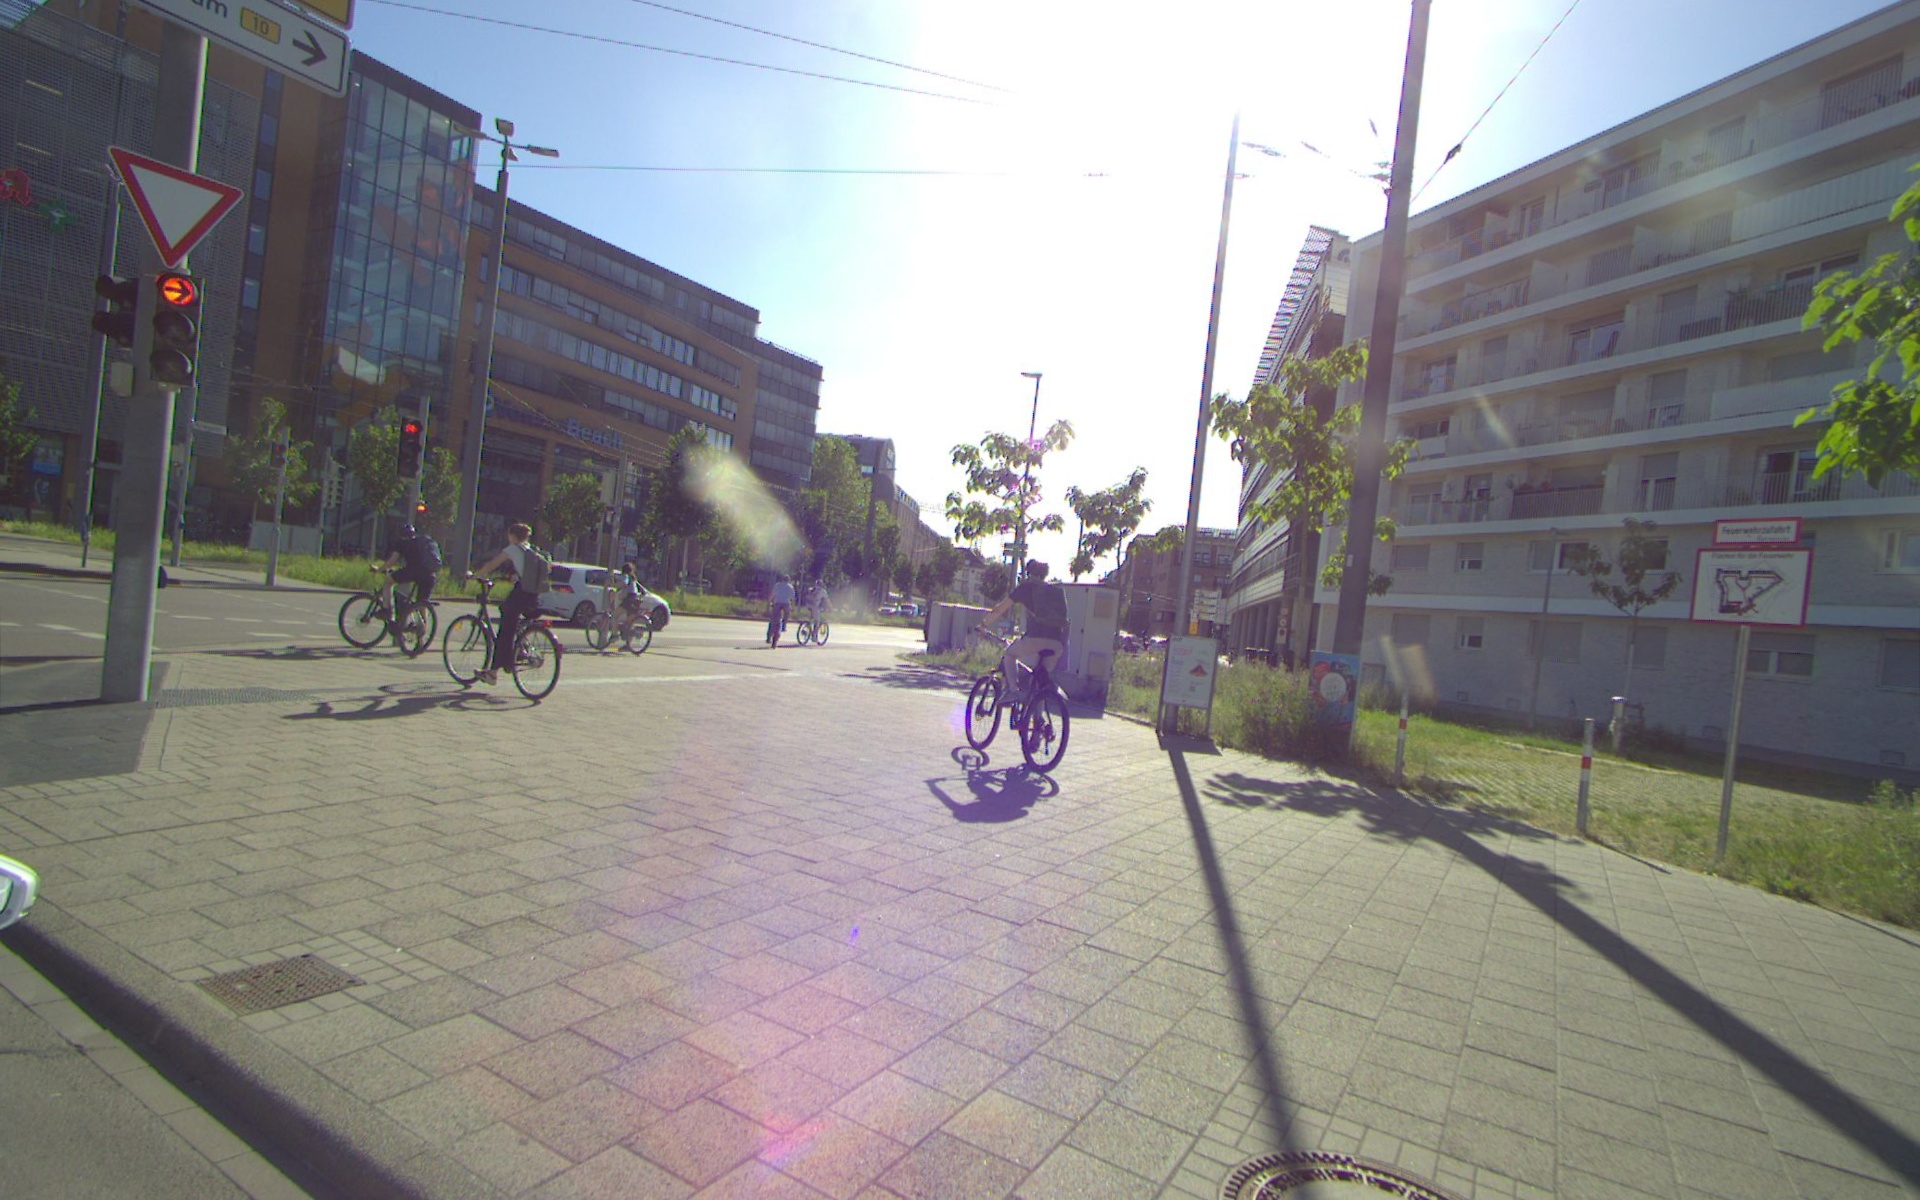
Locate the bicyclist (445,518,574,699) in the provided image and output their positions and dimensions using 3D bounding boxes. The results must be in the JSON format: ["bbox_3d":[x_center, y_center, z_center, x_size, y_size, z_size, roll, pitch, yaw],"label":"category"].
[{"bbox_3d":[-4.497,0.081,10.037,0.987,1.675,0.594,7,1,32],"label":"bicyclist"}]

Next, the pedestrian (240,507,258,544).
[{"bbox_3d":[-38.719,-4.057,54.763,0.369,1.937,0.539,6,-1,39],"label":"pedestrian"}]

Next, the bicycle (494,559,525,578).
[{"bbox_3d":[-32.749,-2.305,73.166,2.142,1.137,0.752,8,1,27],"label":"bicycle"}]

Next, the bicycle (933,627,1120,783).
[{"bbox_3d":[0.531,0.885,9.011,0.817,1.049,1.881,8,0,-22],"label":"bicycle"}]

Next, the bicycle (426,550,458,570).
[{"bbox_3d":[-35.491,-2.751,68.967,2.142,1.137,0.752,8,1,27],"label":"bicycle"}]

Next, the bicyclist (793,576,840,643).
[{"bbox_3d":[-4.046,0.285,28.418,0.640,1.774,1.043,7,1,28],"label":"bicyclist"}]

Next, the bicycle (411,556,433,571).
[{"bbox_3d":[-34.636,-2.355,64.721,1.425,0.829,0.445,8,1,27],"label":"bicycle"}]

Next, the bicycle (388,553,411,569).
[{"bbox_3d":[-35.331,-2.468,63.401,1.425,0.829,0.445,8,1,27],"label":"bicycle"}]

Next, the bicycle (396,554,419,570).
[{"bbox_3d":[-35.095,-2.422,63.909,1.425,0.829,0.445,8,1,27],"label":"bicycle"}]

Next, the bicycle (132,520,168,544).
[{"bbox_3d":[-41.047,-3.442,50.969,2.142,0.966,0.492,8,1,27],"label":"bicycle"}]

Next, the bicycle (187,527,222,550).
[{"bbox_3d":[-39.910,-3.258,53.136,2.142,0.966,0.492,8,1,27],"label":"bicycle"}]

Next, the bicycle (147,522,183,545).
[{"bbox_3d":[-40.815,-3.413,51.648,2.142,0.966,0.492,8,1,27],"label":"bicycle"}]

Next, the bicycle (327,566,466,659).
[{"bbox_3d":[-7.464,0.160,13.302,1.862,1.051,0.605,5,1,27],"label":"bicycle"}]

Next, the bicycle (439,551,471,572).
[{"bbox_3d":[-35.133,-2.667,69.998,2.142,1.137,0.752,8,1,27],"label":"bicycle"}]

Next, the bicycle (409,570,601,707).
[{"bbox_3d":[-4.589,0.362,10.095,1.978,1.119,0.695,6,1,32],"label":"bicycle"}]

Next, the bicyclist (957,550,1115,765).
[{"bbox_3d":[0.642,0.476,8.891,0.798,1.714,1.045,8,1,-22],"label":"bicyclist"}]

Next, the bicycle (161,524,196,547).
[{"bbox_3d":[-40.525,-3.355,52.172,2.142,0.966,0.492,8,1,27],"label":"bicycle"}]

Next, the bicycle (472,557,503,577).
[{"bbox_3d":[-33.713,-2.330,71.820,2.142,1.137,0.752,8,1,27],"label":"bicycle"}]

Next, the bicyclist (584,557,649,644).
[{"bbox_3d":[-5.961,0.019,17.455,0.814,1.421,0.588,5,1,32],"label":"bicyclist"}]

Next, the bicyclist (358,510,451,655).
[{"bbox_3d":[-7.301,-0.223,13.228,0.890,1.821,0.549,5,1,27],"label":"bicyclist"}]

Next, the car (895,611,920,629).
[{"bbox_3d":[-6.698,2.551,129.162,2.185,2.038,5.259,7,-1,7],"label":"car"}]

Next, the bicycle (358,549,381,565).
[{"bbox_3d":[-35.993,-2.622,61.303,1.425,0.829,0.445,8,1,27],"label":"bicycle"}]

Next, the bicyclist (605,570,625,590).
[{"bbox_3d":[-26.836,-1.548,78.241,0.584,1.425,1.309,7,0,33],"label":"bicyclist"}]

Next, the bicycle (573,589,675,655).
[{"bbox_3d":[-5.793,0.370,17.328,1.679,0.966,0.695,5,0,32],"label":"bicycle"}]

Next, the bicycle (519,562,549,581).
[{"bbox_3d":[-31.711,-2.147,74.927,2.142,1.137,0.752,8,1,27],"label":"bicycle"}]

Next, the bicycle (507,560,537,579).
[{"bbox_3d":[-32.211,-2.249,74.020,2.142,1.137,0.752,8,1,27],"label":"bicycle"}]

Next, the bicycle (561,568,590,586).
[{"bbox_3d":[-29.790,-1.777,77.954,2.142,1.137,0.752,8,1,27],"label":"bicycle"}]

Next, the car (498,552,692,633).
[{"bbox_3d":[-8.746,-0.121,24.494,1.747,1.420,4.291,9,0,26],"label":"car"}]

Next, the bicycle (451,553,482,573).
[{"bbox_3d":[-34.654,-2.581,70.656,2.142,1.137,0.752,8,1,27],"label":"bicycle"}]

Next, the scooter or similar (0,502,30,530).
[{"bbox_3d":[-44.198,-3.918,46.808,0.272,1.115,1.203,6,-2,34],"label":"scooter or similar"}]

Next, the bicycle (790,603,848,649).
[{"bbox_3d":[-3.989,0.757,28.598,0.640,1.122,1.758,5,-3,27],"label":"bicycle"}]

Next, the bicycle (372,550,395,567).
[{"bbox_3d":[-35.480,-2.547,61.916,1.425,0.829,0.445,8,1,27],"label":"bicycle"}]

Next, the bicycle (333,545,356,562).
[{"bbox_3d":[-36.952,-2.786,60.375,1.425,0.829,0.445,8,1,27],"label":"bicycle"}]

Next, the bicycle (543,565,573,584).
[{"bbox_3d":[-30.537,-1.933,76.419,2.142,1.137,0.752,8,1,27],"label":"bicycle"}]

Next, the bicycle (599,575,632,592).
[{"bbox_3d":[-26.820,-1.258,78.318,0.588,1.023,2.563,7,-1,33],"label":"bicycle"}]

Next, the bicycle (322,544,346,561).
[{"bbox_3d":[-37.188,-2.831,59.736,1.425,0.829,0.445,8,1,27],"label":"bicycle"}]

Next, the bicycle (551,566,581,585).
[{"bbox_3d":[-30.247,-1.863,77.225,2.142,1.137,0.752,8,1,27],"label":"bicycle"}]

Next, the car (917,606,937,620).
[{"bbox_3d":[-4.730,1.858,145.350,1.962,1.701,4.541,7,-1,7],"label":"car"}]

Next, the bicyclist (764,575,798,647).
[{"bbox_3d":[-4.444,0.268,25.001,0.609,1.690,1.017,8,1,-10],"label":"bicyclist"}]

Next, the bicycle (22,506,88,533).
[{"bbox_3d":[-41.048,-3.640,45.653,0.671,0.878,2.045,7,-1,31],"label":"bicycle"}]

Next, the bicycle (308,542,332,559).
[{"bbox_3d":[-37.461,-2.912,58.883,1.425,0.829,0.445,8,1,27],"label":"bicycle"}]

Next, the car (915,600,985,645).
[{"bbox_3d":[-0.415,1.064,46.446,1.754,1.723,4.139,9,0,19],"label":"car"}]

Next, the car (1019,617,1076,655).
[{"bbox_3d":[4.235,1.752,48.134,1.694,1.543,4.401,7,-1,17],"label":"car"}]

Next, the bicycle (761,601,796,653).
[{"bbox_3d":[-4.473,0.639,24.892,0.677,1.082,2.691,8,0,-10],"label":"bicycle"}]
